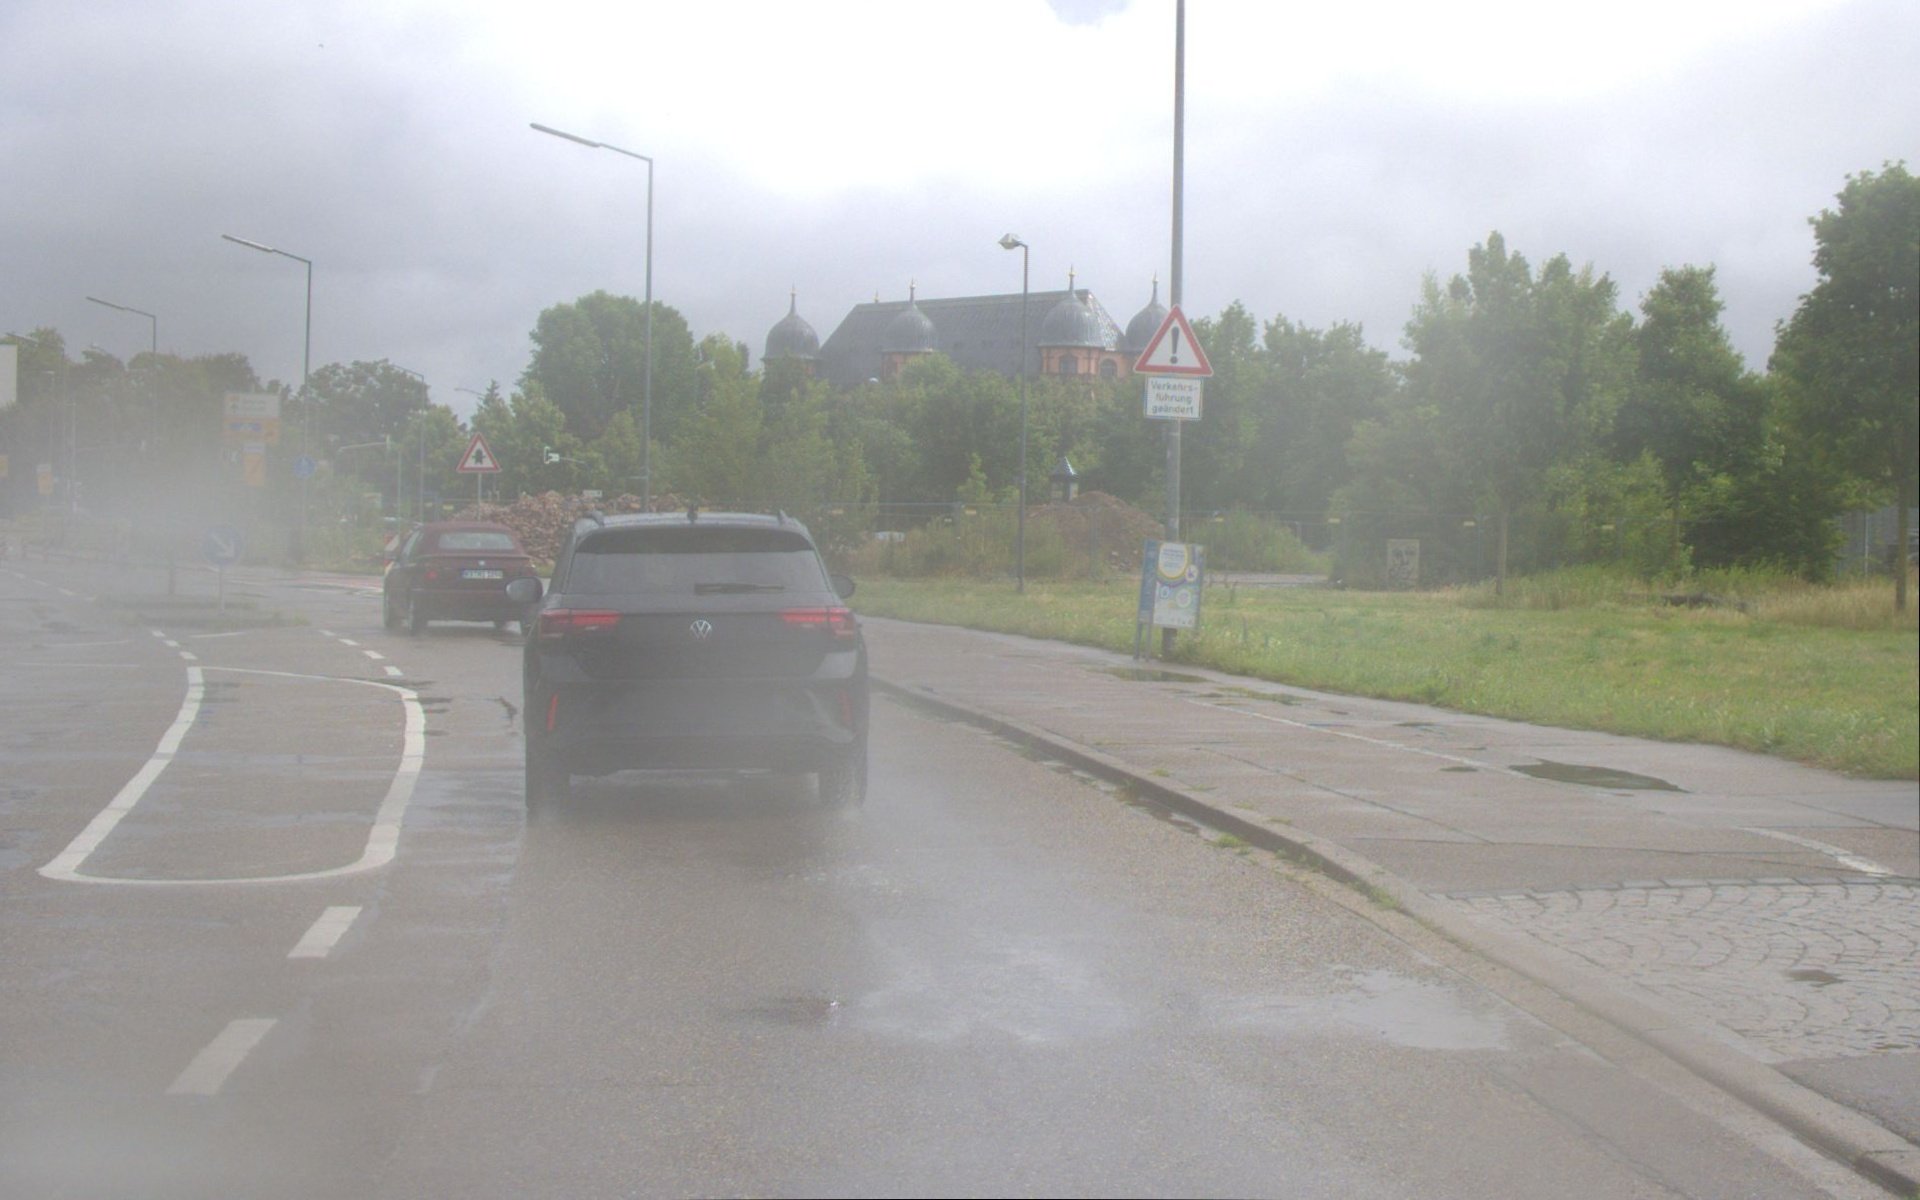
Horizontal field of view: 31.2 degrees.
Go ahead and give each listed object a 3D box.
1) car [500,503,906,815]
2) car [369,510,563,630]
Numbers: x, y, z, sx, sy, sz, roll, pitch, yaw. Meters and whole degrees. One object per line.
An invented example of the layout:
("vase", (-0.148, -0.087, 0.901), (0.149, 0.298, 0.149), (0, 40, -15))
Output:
("car", (-1.486, 0.234, 18.975), (1.986, 1.515, 4.001), (-1, 2, -6))
("car", (-6.454, -0.404, 44.571), (1.841, 1.437, 4.001), (-2, 1, -17))
